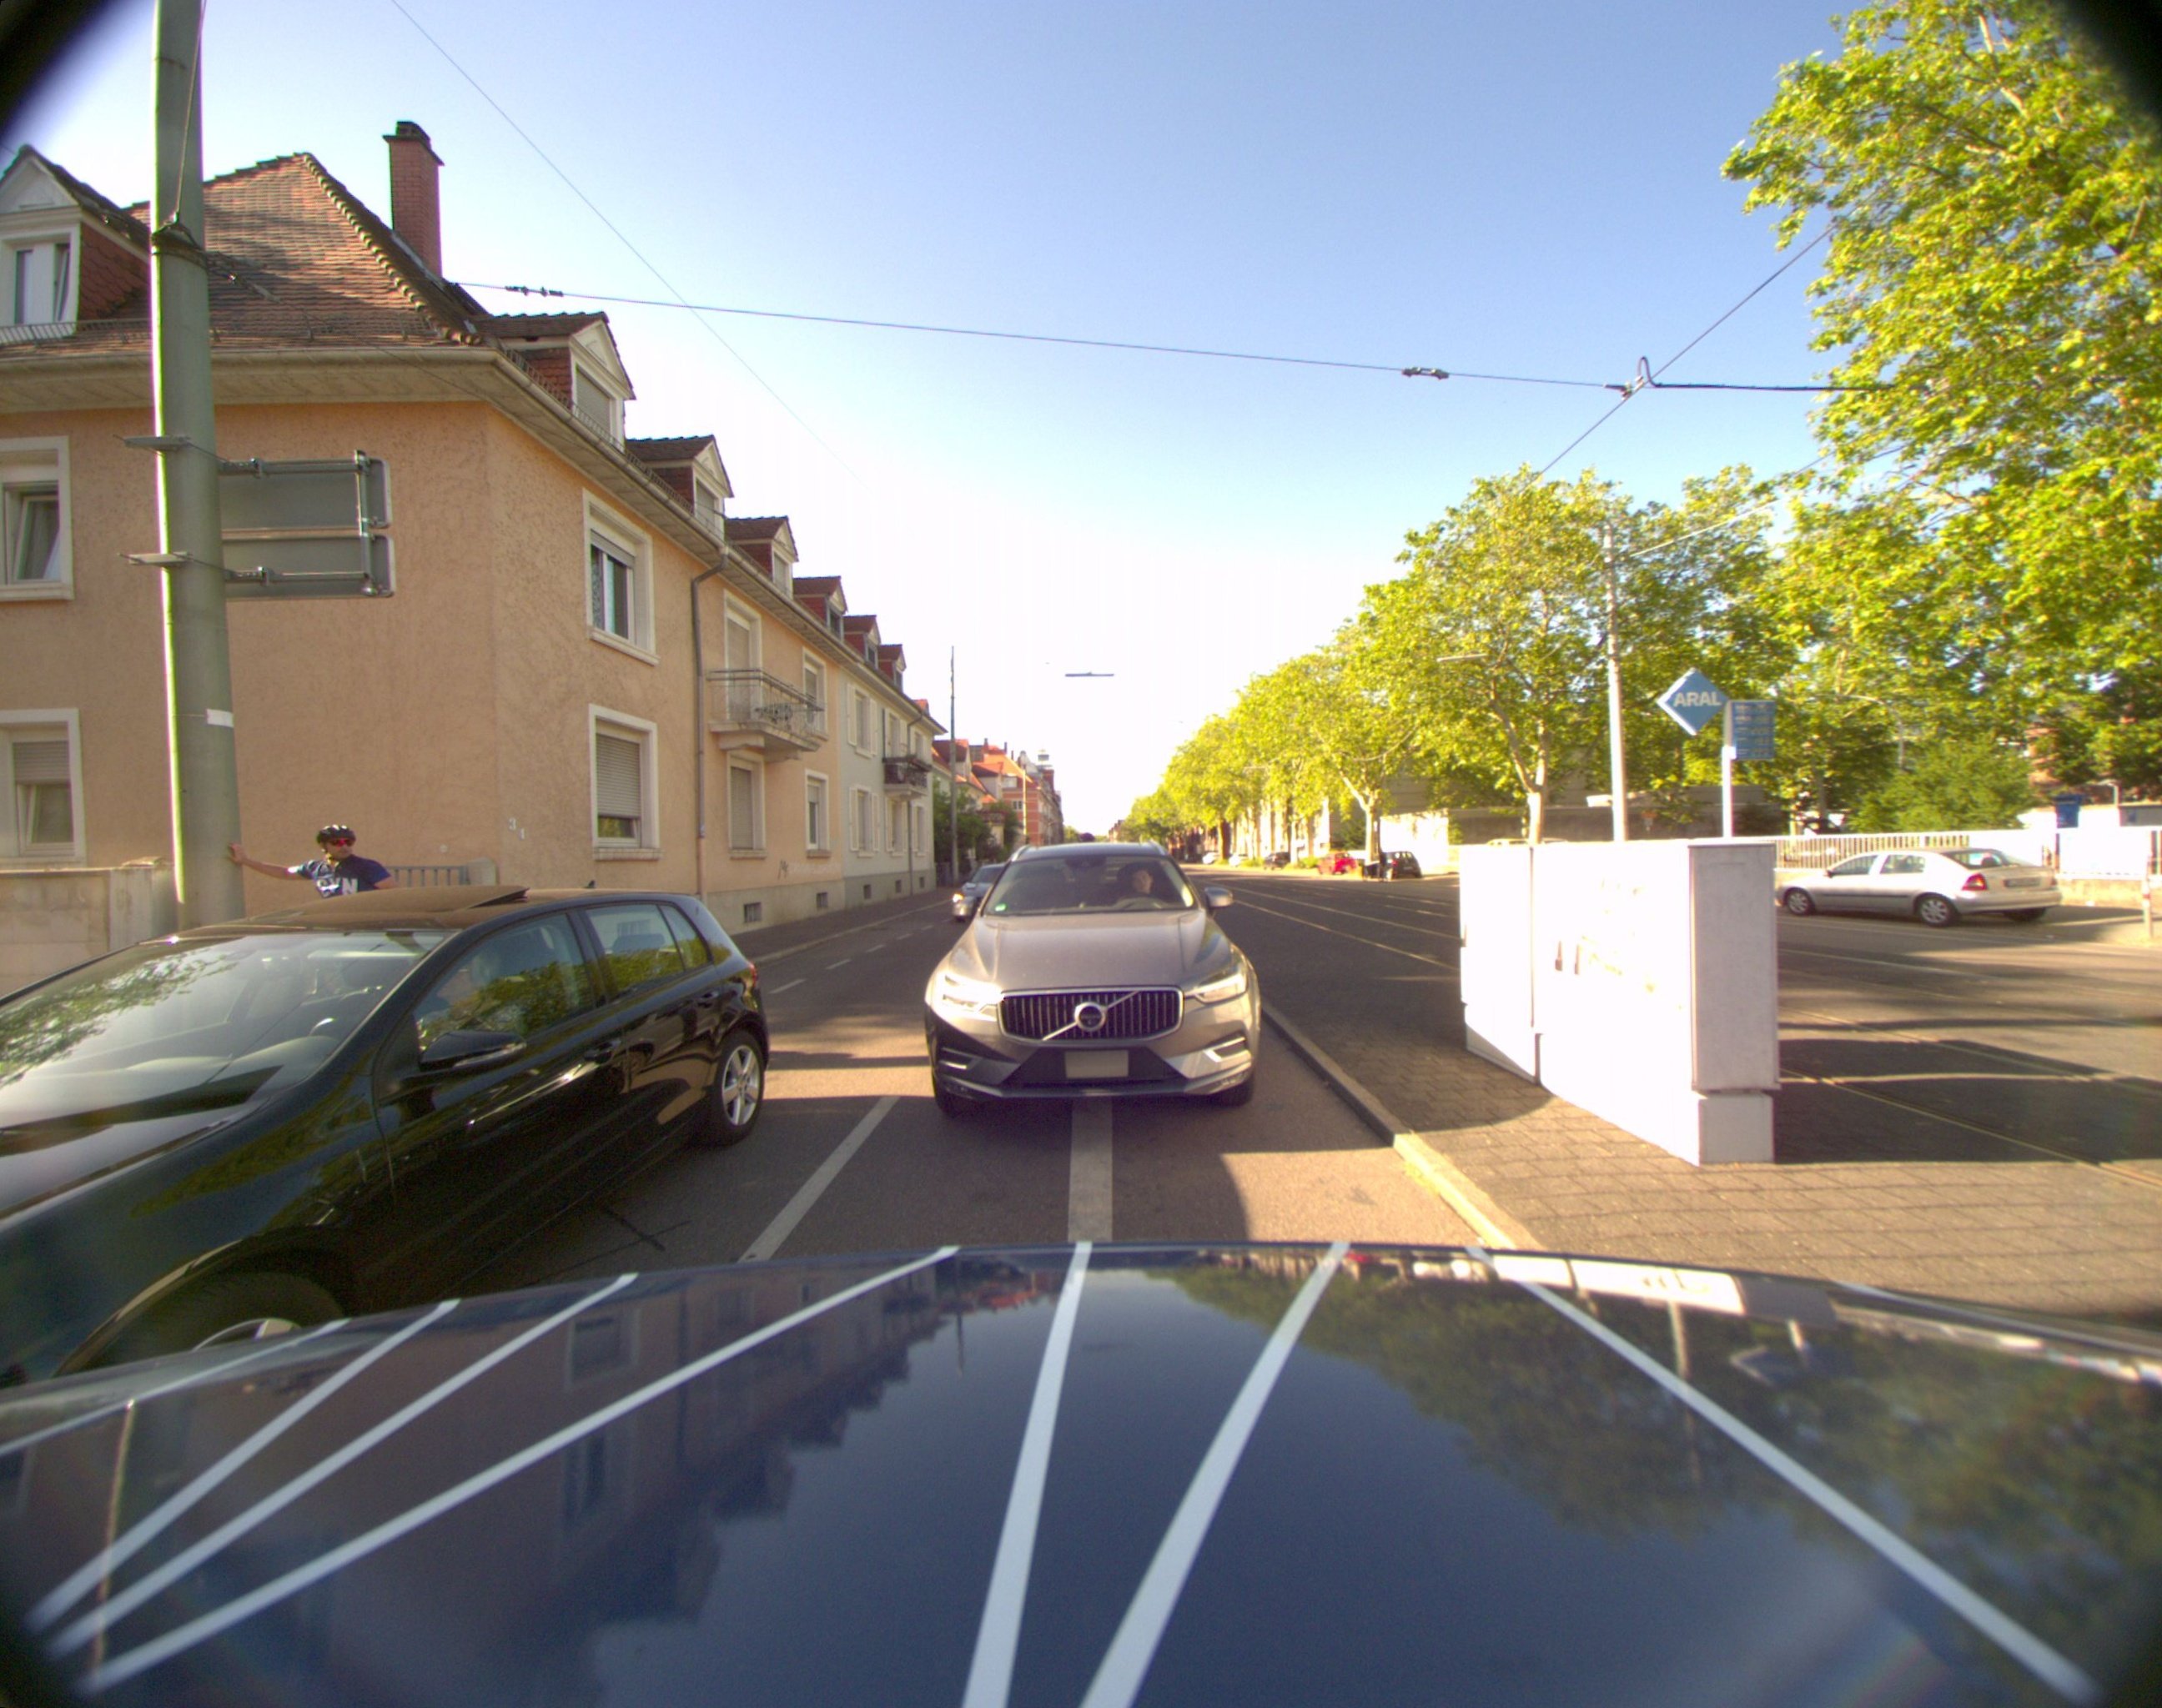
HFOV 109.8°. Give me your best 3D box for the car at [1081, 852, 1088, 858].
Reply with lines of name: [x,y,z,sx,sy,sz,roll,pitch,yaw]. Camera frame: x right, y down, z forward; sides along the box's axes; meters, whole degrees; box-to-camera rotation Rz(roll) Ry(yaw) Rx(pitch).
car: [0.911,0.243,212.539,1.851,1.640,3.999,-2,1,1]

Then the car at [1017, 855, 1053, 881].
car: [-2.787,0.820,47.166,1.825,1.424,4.334,-2,1,1]

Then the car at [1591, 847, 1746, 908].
car: [16.392,0.590,21.446,1.619,1.436,3.606,-4,1,3]

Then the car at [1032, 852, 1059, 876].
car: [-2.783,0.760,60.914,1.825,1.701,4.334,-2,1,1]

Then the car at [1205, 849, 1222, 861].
car: [17.575,0.083,100.681,1.661,1.452,3.730,-4,1,3]

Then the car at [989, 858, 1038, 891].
car: [-3.233,0.953,37.140,1.825,1.422,4.334,-2,1,1]

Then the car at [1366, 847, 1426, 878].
car: [16.833,0.438,40.779,1.723,1.436,3.769,-4,1,3]

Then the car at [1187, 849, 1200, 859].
car: [18.556,0.037,125.557,1.661,1.452,3.730,-4,1,3]

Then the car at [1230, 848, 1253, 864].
car: [17.620,0.230,83.466,1.754,1.532,3.878,-4,1,3]

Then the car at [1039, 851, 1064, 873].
car: [-2.595,0.681,67.280,1.825,1.701,4.334,-2,1,1]

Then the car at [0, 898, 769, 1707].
car: [-2.805,1.039,2.617,1.717,1.430,3.990,-2,1,1]

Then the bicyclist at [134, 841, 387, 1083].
bicyclist: [-6.112,0.769,5.723,1.021,1.684,0.729,2,0,-7]

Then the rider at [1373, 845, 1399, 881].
rider: [14.477,0.415,36.109,0.725,1.639,1.106,-2,1,-1]

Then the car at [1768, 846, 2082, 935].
car: [16.196,0.624,14.952,1.687,1.358,3.989,-6,0,1]

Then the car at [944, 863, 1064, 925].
car: [-1.926,1.008,20.591,1.824,1.422,4.495,-2,-1,13]

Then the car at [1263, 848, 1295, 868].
car: [17.143,0.314,65.966,1.754,1.582,3.878,-4,1,3]

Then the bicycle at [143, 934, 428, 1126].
bicycle: [-5.877,1.240,5.761,0.556,1.069,1.624,2,0,-7]

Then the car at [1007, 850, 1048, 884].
car: [-2.909,0.678,42.395,1.825,1.701,4.334,-2,1,1]

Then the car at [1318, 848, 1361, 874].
car: [16.939,0.437,49.951,1.661,1.486,3.377,-4,1,3]

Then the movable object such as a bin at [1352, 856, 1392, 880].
movable object such as a bin: [14.345,0.684,37.513,1.178,1.097,1.834,-2,1,-1]

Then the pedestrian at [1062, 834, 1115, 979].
pedestrian: [0.100,0.667,9.969,0.609,1.832,0.599,-2,1,1]

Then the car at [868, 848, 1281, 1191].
car: [0.120,0.793,5.817,1.924,1.579,4.387,-2,1,4]
